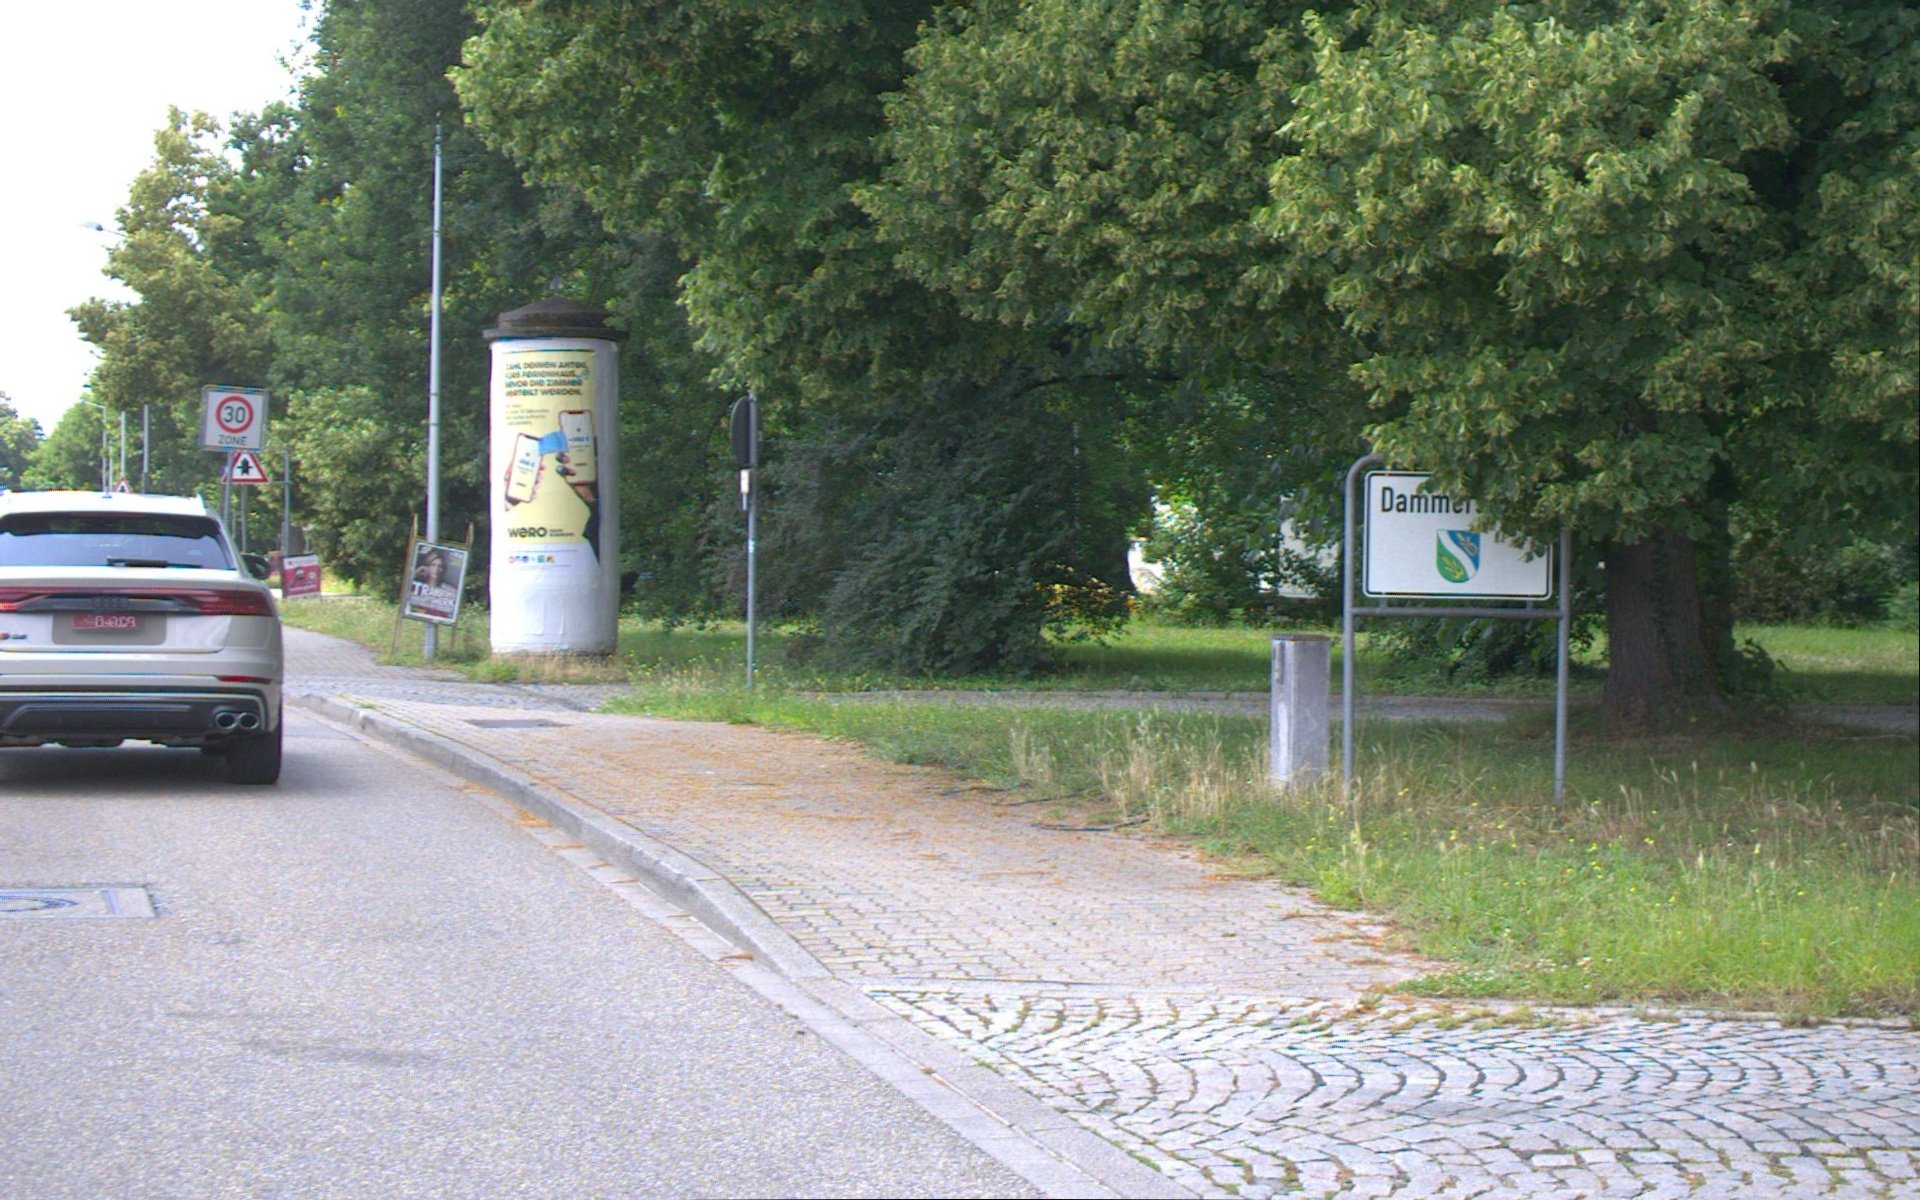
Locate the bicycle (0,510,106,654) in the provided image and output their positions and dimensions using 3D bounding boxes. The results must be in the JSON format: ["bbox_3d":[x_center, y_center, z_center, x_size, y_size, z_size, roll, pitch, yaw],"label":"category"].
[{"bbox_3d":[-11.580,-0.253,41.761,1.993,1.669,4.210,0,1,-19],"label":"bicycle"}]

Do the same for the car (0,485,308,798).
[{"bbox_3d":[-5.048,0.165,20.949,1.981,1.678,4.575,1,1,-10],"label":"car"}]
